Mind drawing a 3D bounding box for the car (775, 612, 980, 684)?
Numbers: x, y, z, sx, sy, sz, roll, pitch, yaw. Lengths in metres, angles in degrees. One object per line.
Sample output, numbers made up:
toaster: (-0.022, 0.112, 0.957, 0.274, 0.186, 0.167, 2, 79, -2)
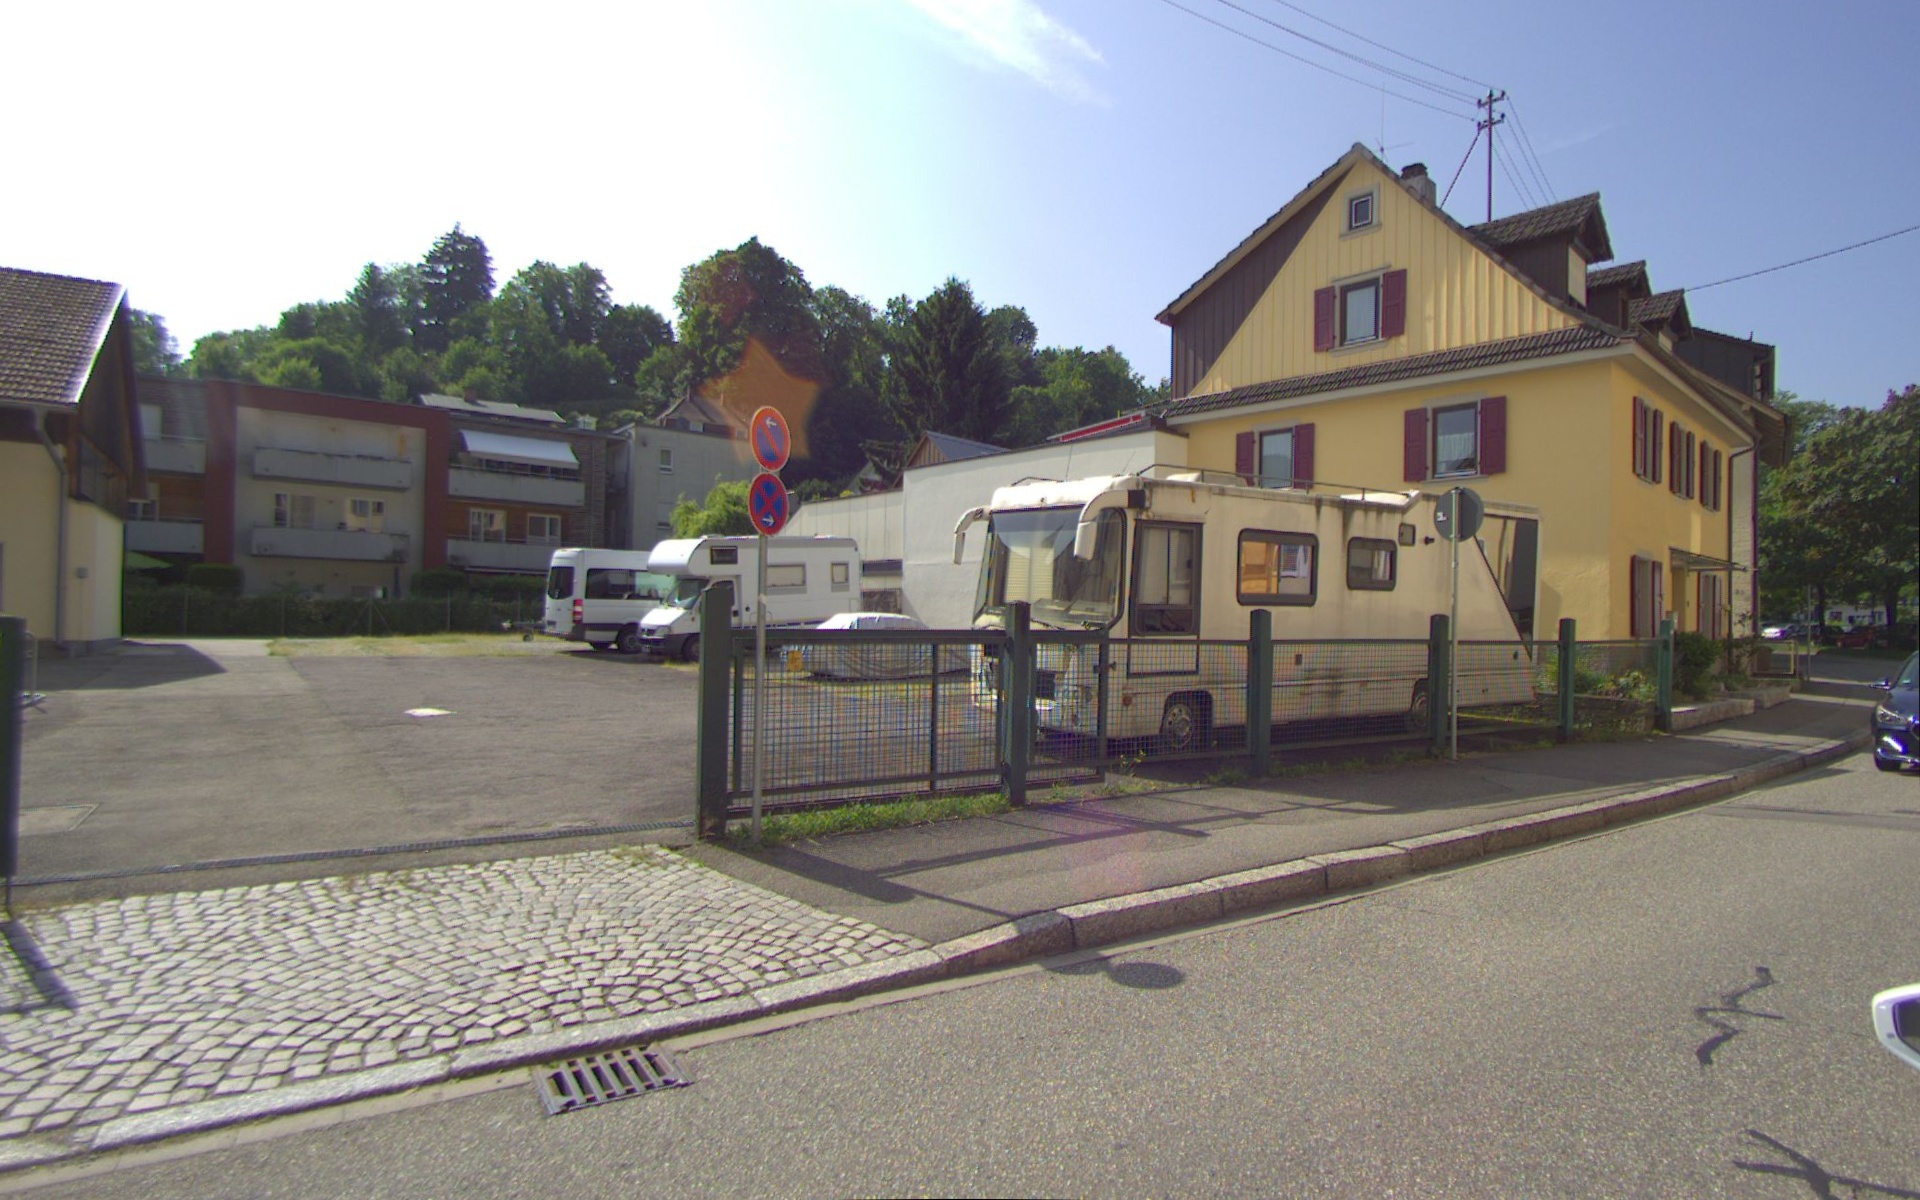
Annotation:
car: (-1.650, 0.926, 20.646, 3.958, 1.286, 1.584, 0, 1, -34)

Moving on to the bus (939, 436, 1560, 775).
bus: (4.255, 0.131, 13.368, 8.941, 3.271, 2.803, 1, 0, -34)

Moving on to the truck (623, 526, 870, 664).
truck: (-5.284, -0.115, 25.455, 5.698, 3.100, 2.384, 0, 1, -43)

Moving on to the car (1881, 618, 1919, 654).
car: (52.399, 1.952, 54.715, 1.792, 1.815, 4.000, -1, 0, 19)

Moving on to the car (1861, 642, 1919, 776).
car: (12.542, 1.253, 12.309, 3.996, 1.472, 1.733, 1, -4, -42)

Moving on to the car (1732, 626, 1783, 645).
car: (66.848, 2.977, 84.217, 3.946, 1.572, 1.804, 1, -1, -25)

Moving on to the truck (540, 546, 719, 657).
truck: (-8.650, -0.009, 26.442, 4.050, 2.688, 1.934, 0, 2, -43)

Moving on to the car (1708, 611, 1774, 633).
car: (68.454, 1.936, 88.060, 4.616, 1.879, 1.997, 1, -1, -10)

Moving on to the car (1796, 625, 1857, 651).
car: (56.825, 2.485, 65.934, 1.680, 1.563, 4.000, -1, 0, 19)
